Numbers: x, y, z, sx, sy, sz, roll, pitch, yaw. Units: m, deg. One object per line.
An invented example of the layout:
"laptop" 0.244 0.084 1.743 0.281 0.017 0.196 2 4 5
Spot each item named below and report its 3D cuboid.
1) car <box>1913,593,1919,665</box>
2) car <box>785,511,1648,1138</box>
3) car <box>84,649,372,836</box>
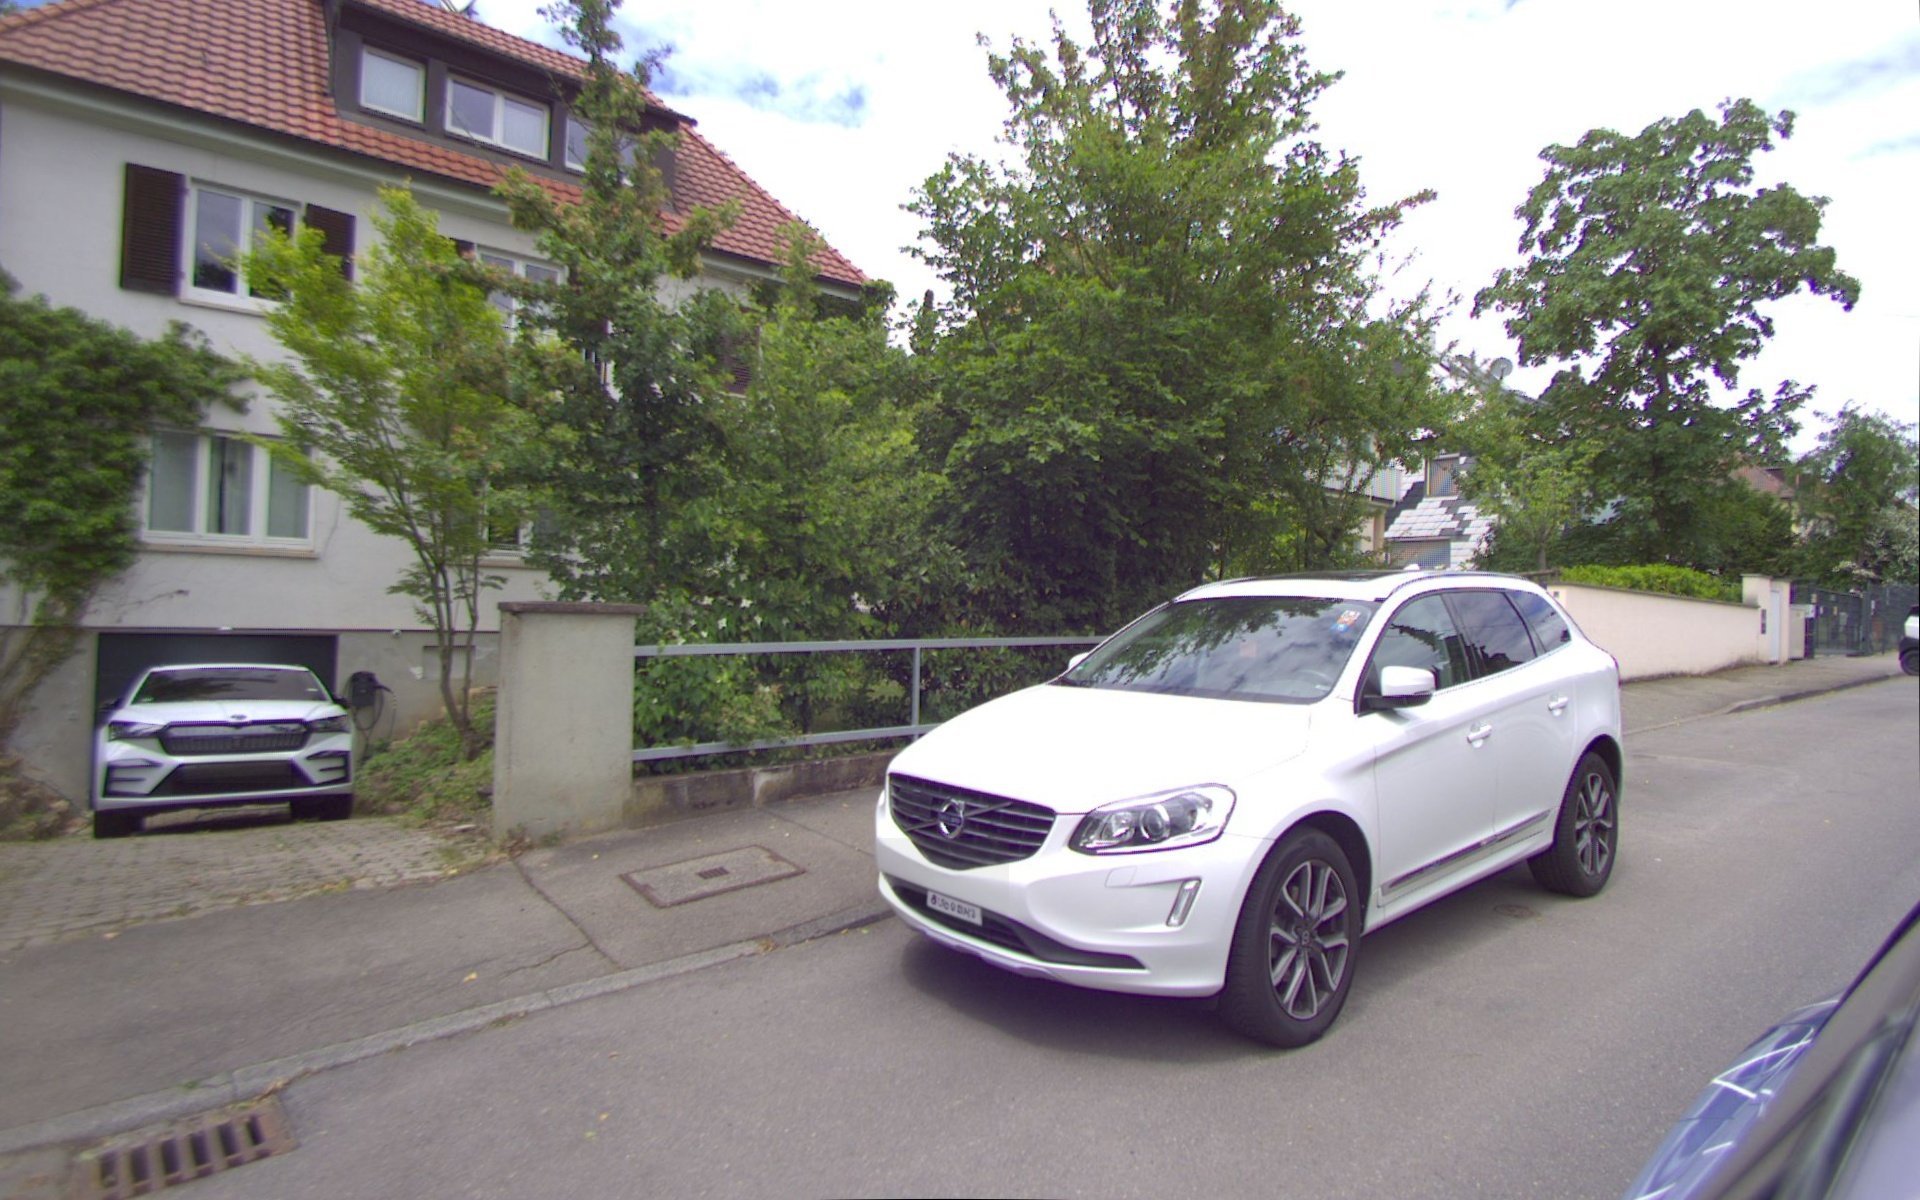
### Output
"car" 21.698 0.648 21.174 1.292 1.543 2.296 1 0 -32
"car" 1.501 0.608 4.857 4.273 1.706 1.869 0 0 -40
"car" -7.106 1.218 9.792 1.882 1.372 3.994 1 -4 -39
